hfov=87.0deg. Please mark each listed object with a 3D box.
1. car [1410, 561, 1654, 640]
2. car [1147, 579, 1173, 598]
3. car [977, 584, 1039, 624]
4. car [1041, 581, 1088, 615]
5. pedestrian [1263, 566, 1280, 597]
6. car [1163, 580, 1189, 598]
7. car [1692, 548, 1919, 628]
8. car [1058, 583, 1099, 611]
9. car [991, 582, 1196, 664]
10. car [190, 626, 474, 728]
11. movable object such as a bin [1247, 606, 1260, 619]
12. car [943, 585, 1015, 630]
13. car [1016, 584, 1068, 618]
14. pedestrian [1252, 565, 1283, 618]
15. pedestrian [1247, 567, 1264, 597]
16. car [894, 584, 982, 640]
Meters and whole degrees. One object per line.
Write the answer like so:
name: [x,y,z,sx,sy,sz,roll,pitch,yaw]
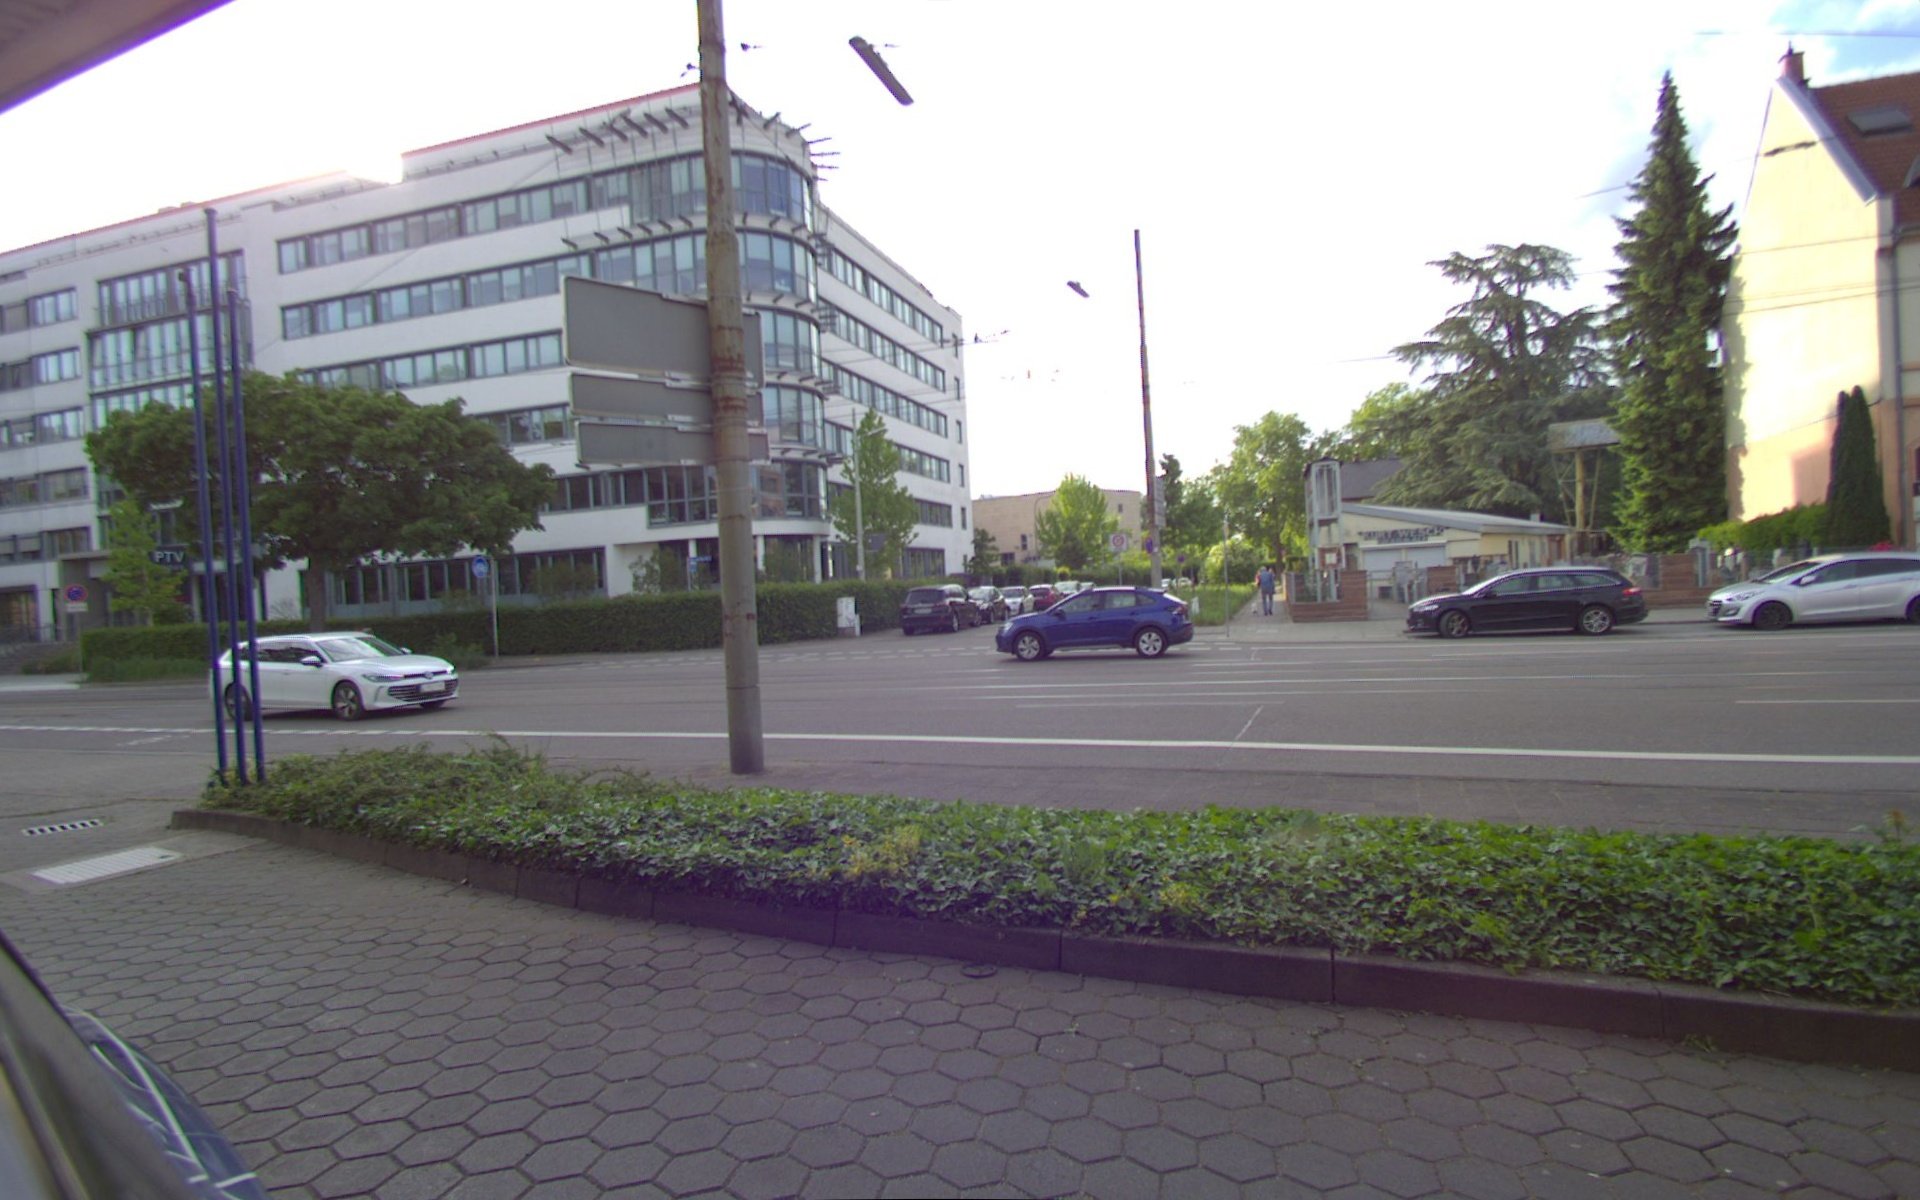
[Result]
car: [13.003,0.011,23.372,4.632,1.533,1.842,-3,2,22]
car: [19.954,-1.146,100.911,1.811,1.654,4.044,-4,0,22]
car: [2.216,0.151,45.691,1.807,1.589,4.175,-4,0,16]
car: [6.024,-0.139,57.810,1.807,1.704,4.392,-4,0,16]
pedestrian: [19.645,-1.147,63.857,0.965,1.896,1.055,-1,0,18]
car: [22.832,-1.168,106.857,1.813,1.654,4.040,-4,0,25]
car: [18.396,-0.265,21.401,4.349,1.493,1.732,-3,1,22]
car: [7.379,-0.217,62.575,1.807,1.585,4.052,-4,0,16]
car: [2.886,0.477,21.625,4.100,1.480,1.855,-3,0,15]
car: [-11.334,1.369,18.265,4.795,1.520,1.851,-2,2,22]
movable object such as a bin: [10.116,0.432,34.895,0.363,0.397,0.660,-2,2,14]
car: [0.822,0.270,40.987,1.807,1.589,4.175,-4,0,16]
car: [4.292,0.020,52.412,1.807,1.589,4.175,-4,0,16]
pedestrian: [10.470,-0.287,34.502,0.901,1.712,0.921,-3,2,15]
pedestrian: [18.720,-1.134,64.173,0.965,1.896,1.055,-1,0,18]
car: [-0.696,0.358,35.572,1.807,1.701,4.370,-4,1,16]
